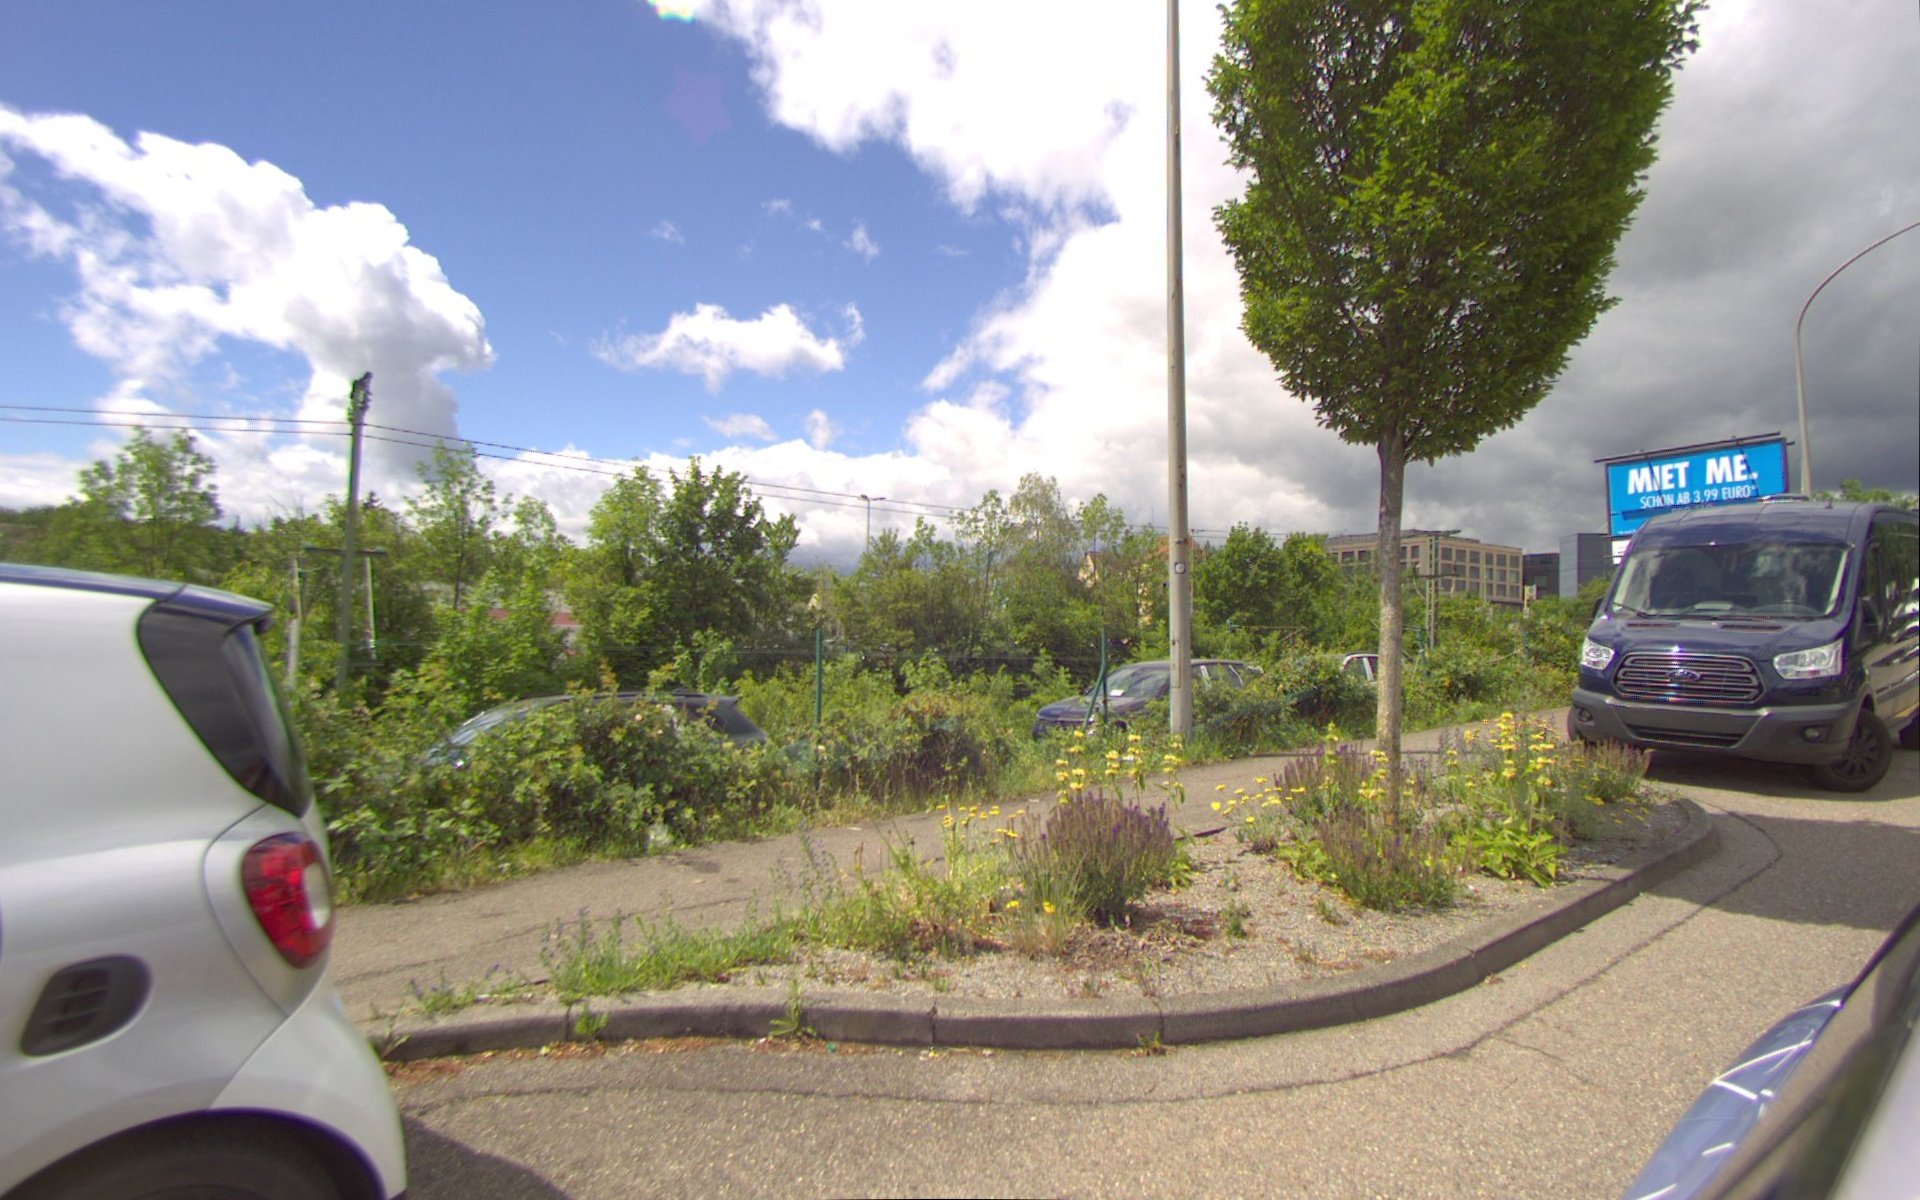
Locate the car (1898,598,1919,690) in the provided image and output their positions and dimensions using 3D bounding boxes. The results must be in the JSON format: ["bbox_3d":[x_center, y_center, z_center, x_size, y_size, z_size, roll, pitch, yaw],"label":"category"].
[{"bbox_3d":[16.759,0.692,16.722,3.383,1.450,1.401,0,0,-39],"label":"car"}]

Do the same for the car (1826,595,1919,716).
[{"bbox_3d":[12.879,0.673,13.604,3.307,1.473,1.334,0,0,-39],"label":"car"}]

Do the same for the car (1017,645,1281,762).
[{"bbox_3d":[3.046,1.505,15.840,4.224,1.368,1.820,0,1,-40],"label":"car"}]

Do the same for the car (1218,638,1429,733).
[{"bbox_3d":[6.802,1.492,18.753,4.224,1.368,1.820,0,1,-40],"label":"car"}]

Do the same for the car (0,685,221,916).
[{"bbox_3d":[-7.905,1.468,6.947,4.475,1.368,1.820,0,1,-40],"label":"car"}]

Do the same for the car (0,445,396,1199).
[{"bbox_3d":[-2.570,0.548,1.430,2.810,1.542,1.594,0,0,-44],"label":"car"}]

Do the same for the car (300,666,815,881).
[{"bbox_3d":[-3.846,1.512,10.139,4.475,1.368,1.820,0,1,-40],"label":"car"}]

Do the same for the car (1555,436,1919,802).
[{"bbox_3d":[8.038,0.114,9.867,5.632,2.627,2.059,0,0,-39],"label":"car"}]
